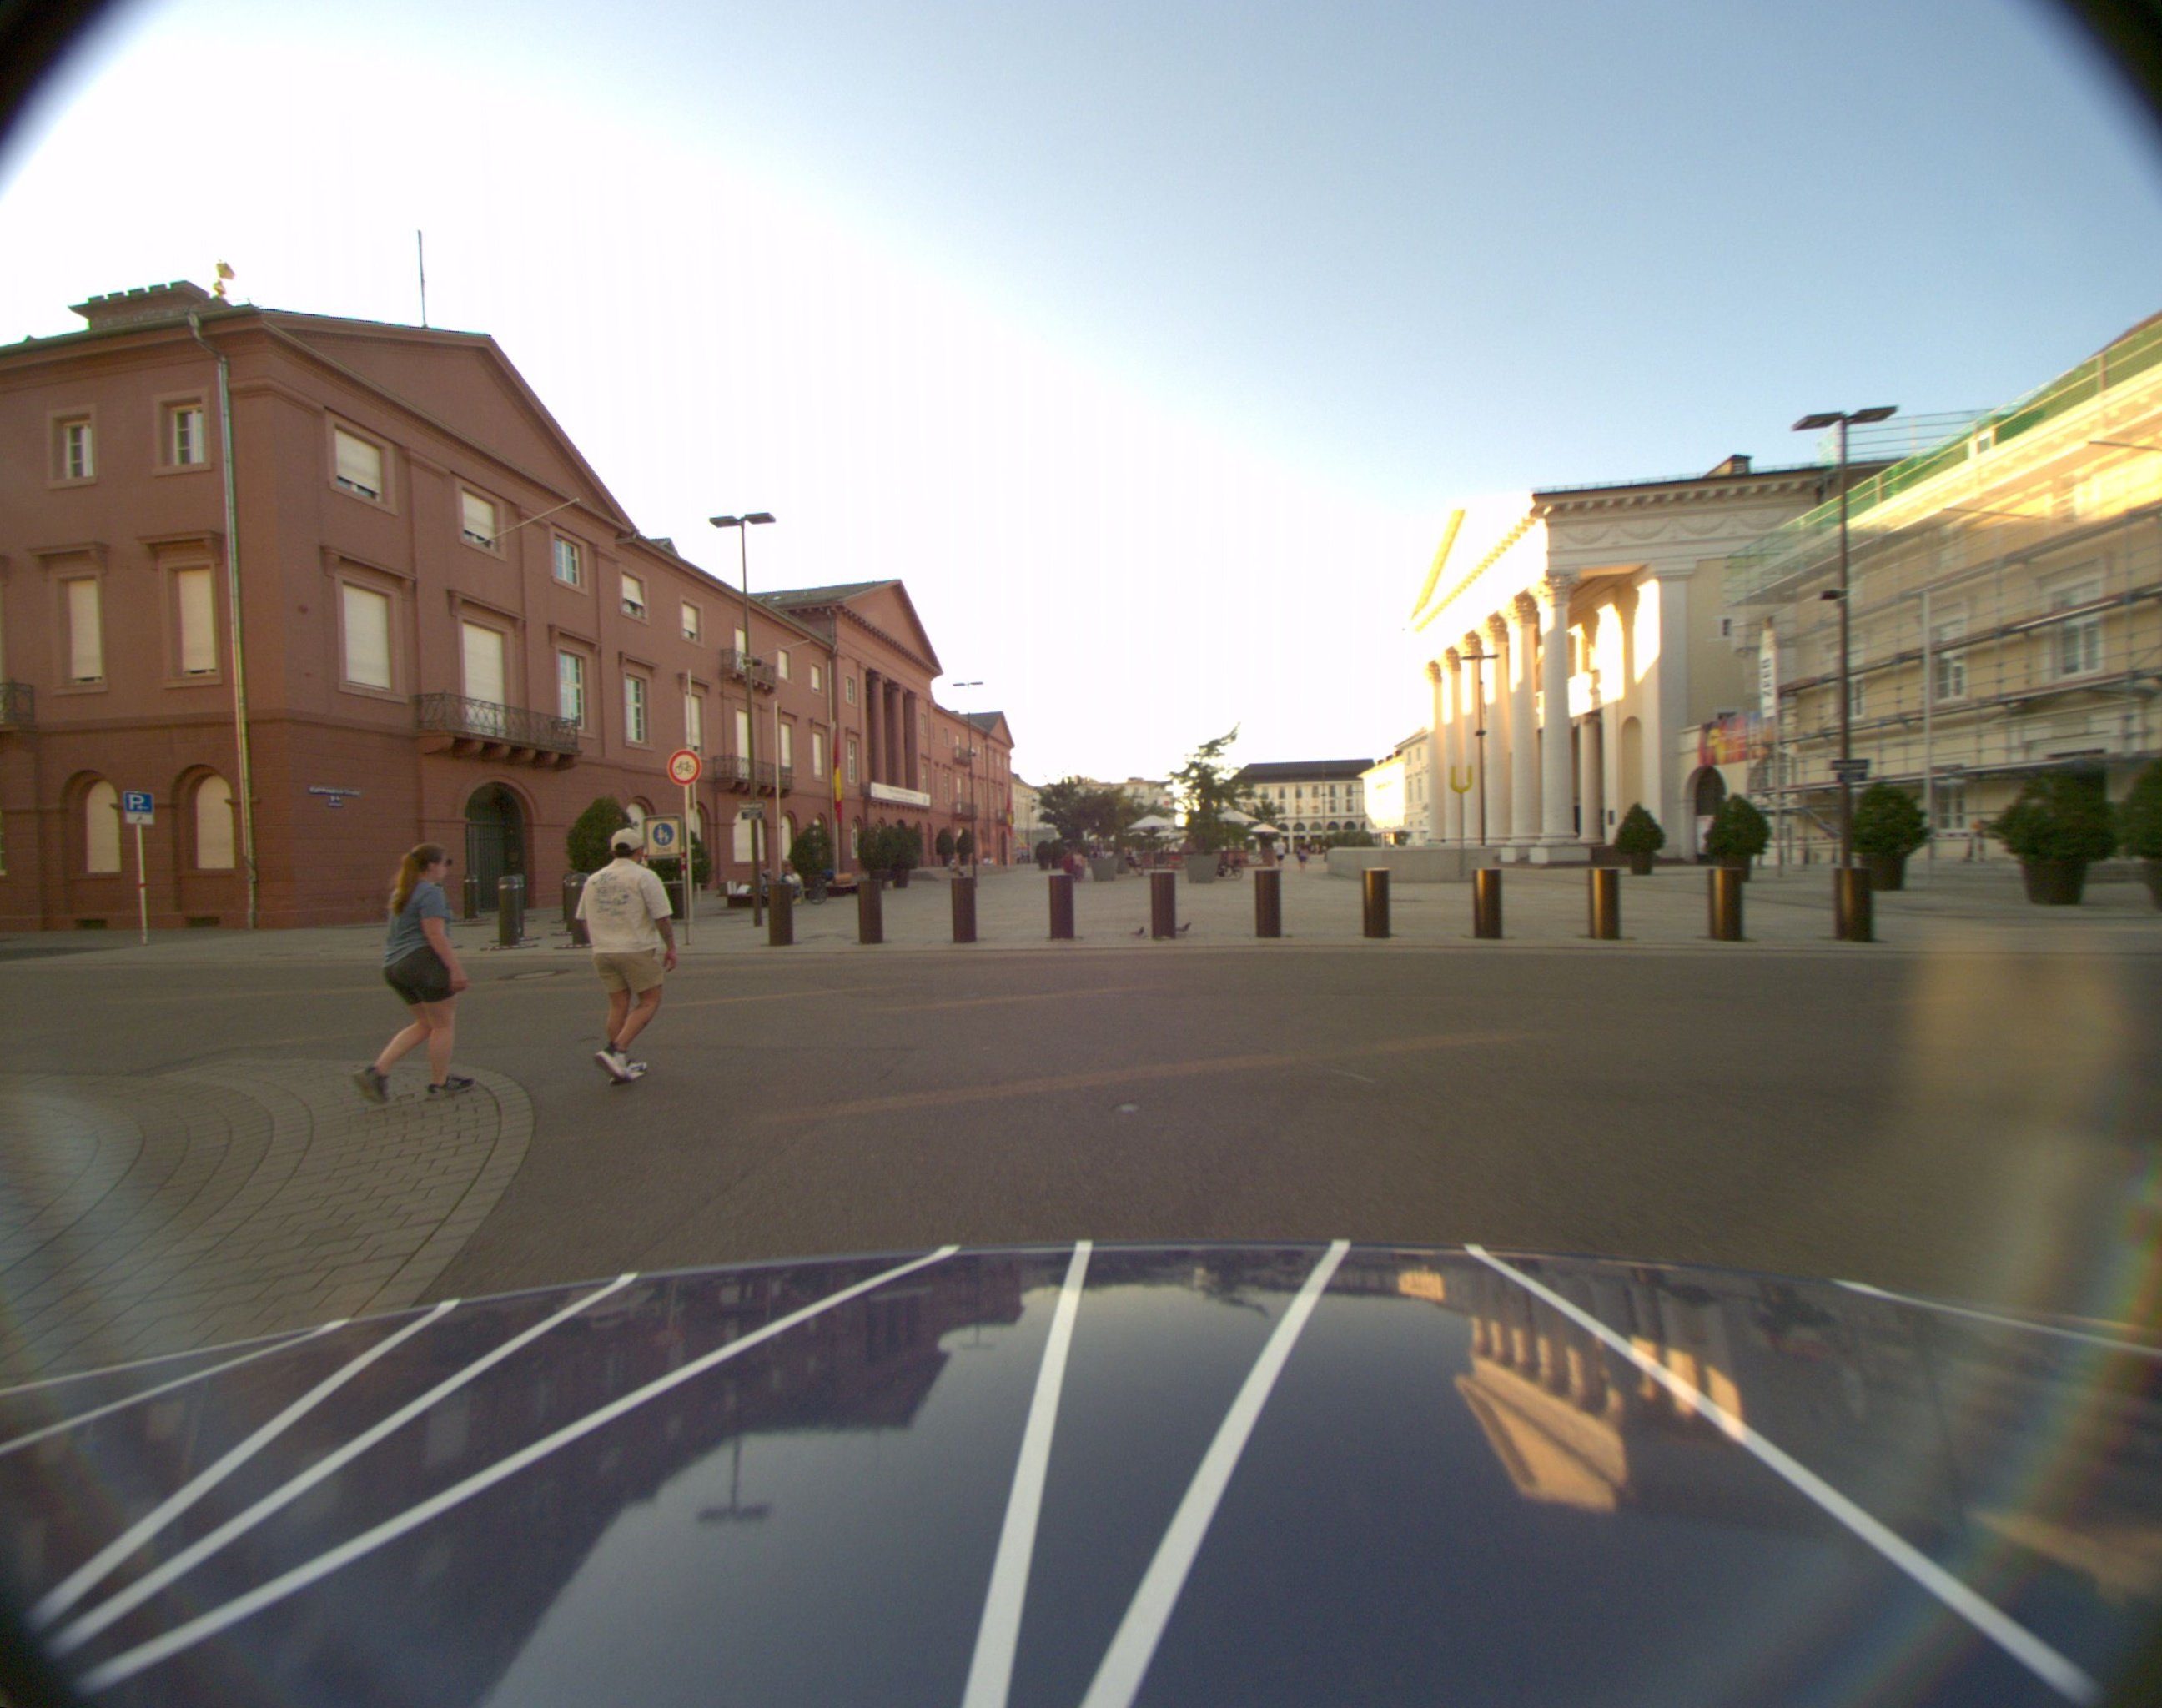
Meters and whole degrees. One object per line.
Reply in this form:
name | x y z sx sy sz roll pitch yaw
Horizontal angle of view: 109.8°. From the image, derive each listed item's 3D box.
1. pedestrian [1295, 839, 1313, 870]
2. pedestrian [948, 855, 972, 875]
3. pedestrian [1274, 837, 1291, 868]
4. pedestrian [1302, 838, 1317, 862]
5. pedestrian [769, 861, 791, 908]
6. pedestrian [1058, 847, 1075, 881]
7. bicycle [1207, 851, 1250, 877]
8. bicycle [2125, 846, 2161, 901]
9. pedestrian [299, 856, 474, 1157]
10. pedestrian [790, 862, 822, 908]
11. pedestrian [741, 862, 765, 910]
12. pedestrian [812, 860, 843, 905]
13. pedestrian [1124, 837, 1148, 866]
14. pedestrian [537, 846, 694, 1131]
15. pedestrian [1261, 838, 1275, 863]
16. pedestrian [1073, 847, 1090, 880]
pedestrian | 12.457 0.018 42.440 0.855 1.720 0.882 -1 1 12
pedestrian | -7.777 0.700 48.907 1.404 1.255 1.326 -2 1 -4
pedestrian | 11.469 -0.073 43.284 0.855 1.720 0.882 -1 1 12
pedestrian | 18.401 -0.356 61.266 1.091 1.900 0.882 -1 1 12
pedestrian | -9.505 0.941 24.013 0.585 1.439 0.829 -2 1 -20
pedestrian | -0.677 0.478 35.778 0.683 1.557 0.653 -1 1 7
bicycle | 6.627 0.466 34.137 1.683 1.115 0.846 -1 1 43
bicycle | 22.567 0.402 15.223 0.634 1.105 1.851 -2 1 -10
pedestrian | -4.355 0.883 4.826 0.719 1.720 0.607 -2 2 -38
pedestrian | -8.927 0.992 24.654 0.828 1.439 0.585 -1 2 41
pedestrian | -10.150 0.968 23.522 0.585 1.439 0.829 -2 1 -20
pedestrian | -8.498 0.947 25.422 0.828 1.439 0.585 -1 2 39
pedestrian | 4.351 -0.198 60.249 1.253 2.222 1.502 -2 1 -23
pedestrian | -3.135 0.822 5.116 0.767 1.720 0.667 -2 2 -38
pedestrian | 12.961 -0.243 52.727 0.855 1.720 0.882 -1 1 12
pedestrian | 0.035 0.445 35.759 0.683 1.550 0.653 -1 1 7
